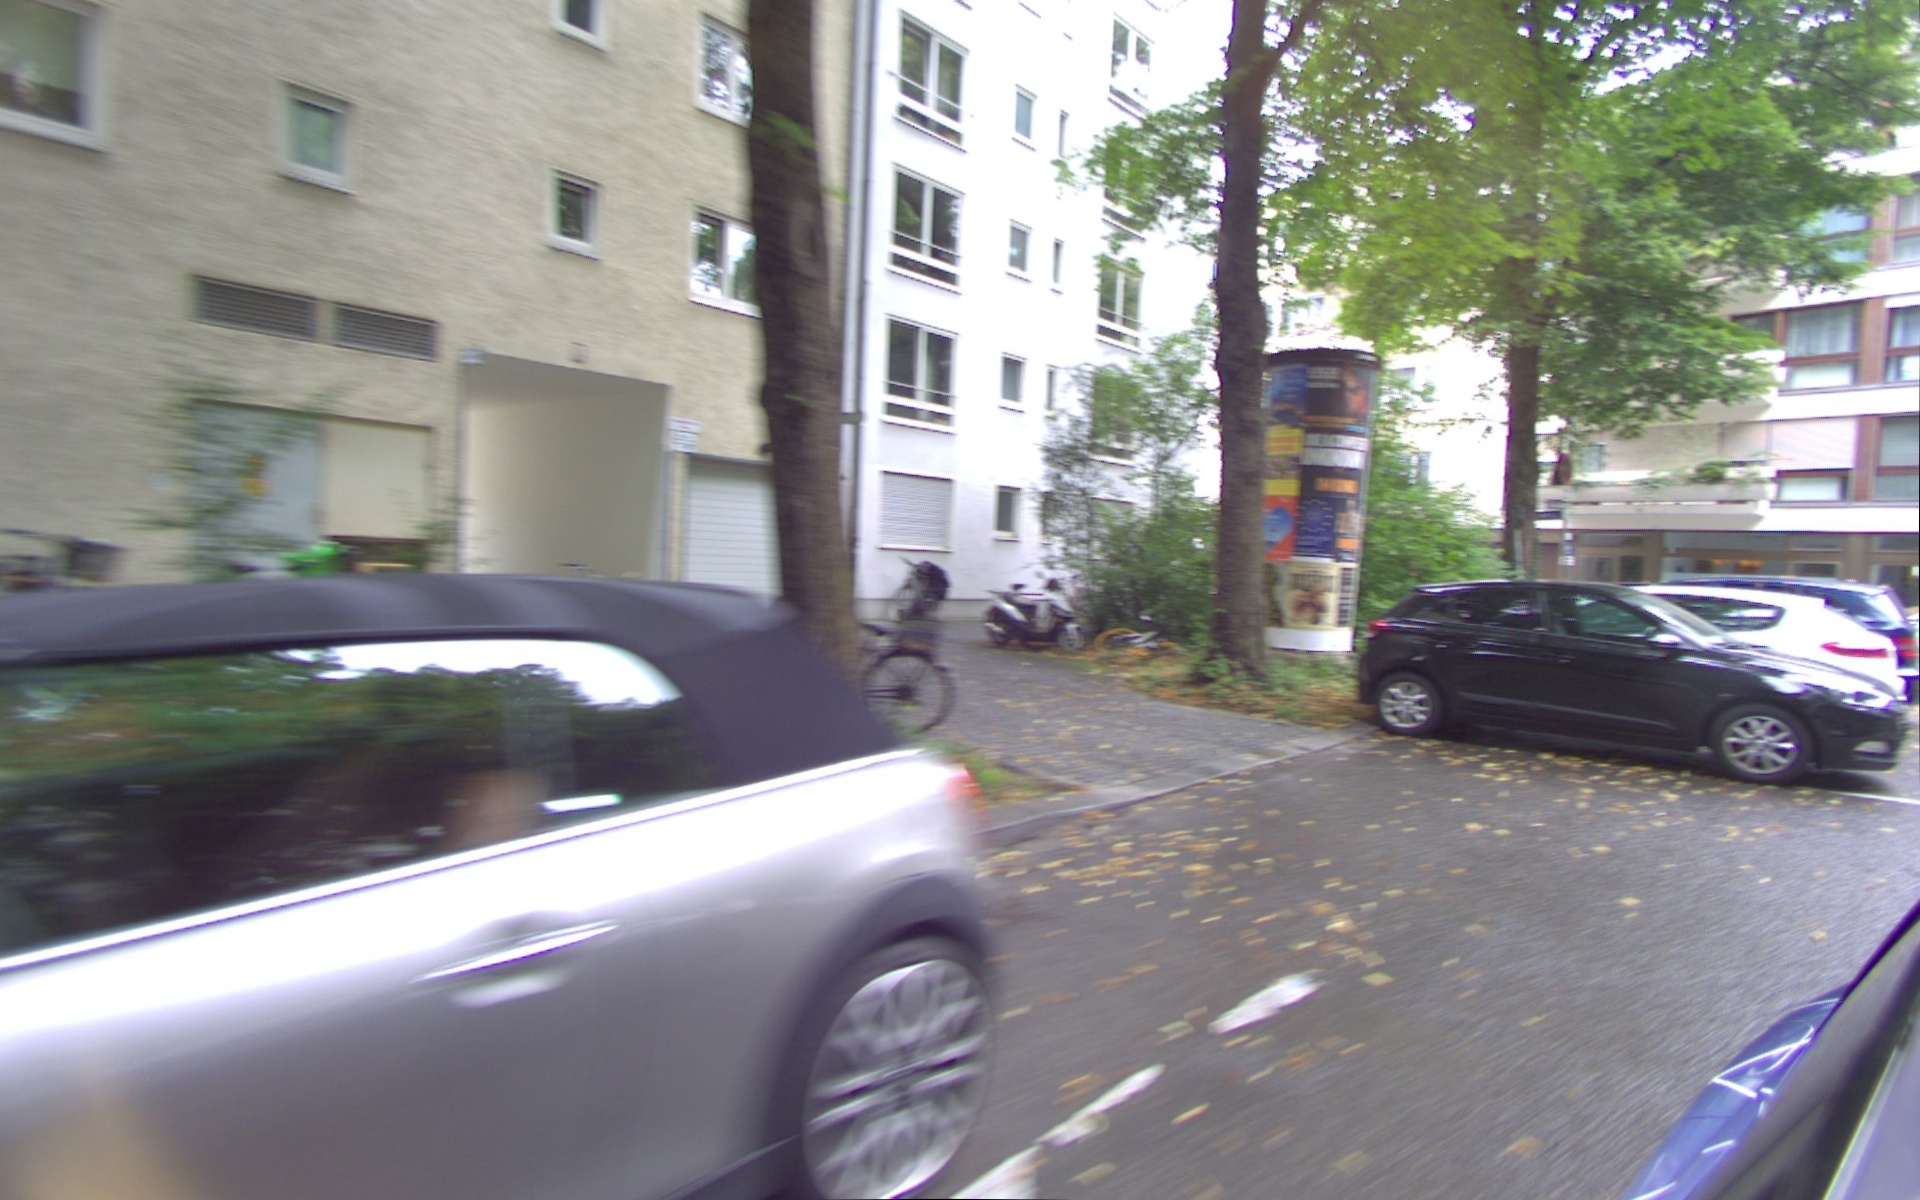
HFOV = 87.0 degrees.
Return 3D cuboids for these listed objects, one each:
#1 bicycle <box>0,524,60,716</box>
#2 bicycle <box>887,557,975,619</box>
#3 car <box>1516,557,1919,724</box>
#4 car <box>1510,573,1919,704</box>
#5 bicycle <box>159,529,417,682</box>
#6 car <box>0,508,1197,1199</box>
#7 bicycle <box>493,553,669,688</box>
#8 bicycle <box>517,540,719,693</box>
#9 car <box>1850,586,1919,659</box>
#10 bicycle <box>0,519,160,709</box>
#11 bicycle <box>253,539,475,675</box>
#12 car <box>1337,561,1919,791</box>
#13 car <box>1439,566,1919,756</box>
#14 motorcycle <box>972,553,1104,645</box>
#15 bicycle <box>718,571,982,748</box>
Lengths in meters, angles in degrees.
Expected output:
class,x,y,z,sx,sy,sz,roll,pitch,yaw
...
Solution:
class,x,y,z,sx,sy,sz,roll,pitch,yaw
bicycle,-6.533,0.081,6.250,1.742,1.137,0.445,2,2,9
bicycle,-0.507,-0.232,18.583,0.538,1.035,1.676,8,6,42
car,9.132,0.356,12.123,3.974,1.574,1.728,5,4,44
car,10.666,0.418,14.350,4.714,1.394,1.932,4,3,40
bicycle,-5.491,0.018,8.390,0.442,1.137,1.751,3,2,33
car,-1.499,0.560,2.038,1.899,1.430,4.361,6,5,43
bicycle,-3.625,0.154,9.614,1.863,1.137,0.534,3,2,32
bicycle,-2.887,0.092,8.452,1.863,1.137,0.534,3,2,32
car,20.769,0.552,20.570,1.538,1.439,3.828,3,1,-41
bicycle,-6.084,0.038,6.770,1.931,1.137,0.441,3,2,29
bicycle,-5.435,0.036,9.341,0.442,1.137,1.751,3,2,33
car,5.662,0.446,8.828,1.706,1.411,4.087,0,4,-44
car,7.376,0.468,10.569,3.932,1.465,1.800,5,4,41
motorcycle,1.112,-0.042,14.684,1.798,1.212,0.682,4,3,37
bicycle,-0.803,0.412,7.683,1.838,1.178,0.765,2,2,7
